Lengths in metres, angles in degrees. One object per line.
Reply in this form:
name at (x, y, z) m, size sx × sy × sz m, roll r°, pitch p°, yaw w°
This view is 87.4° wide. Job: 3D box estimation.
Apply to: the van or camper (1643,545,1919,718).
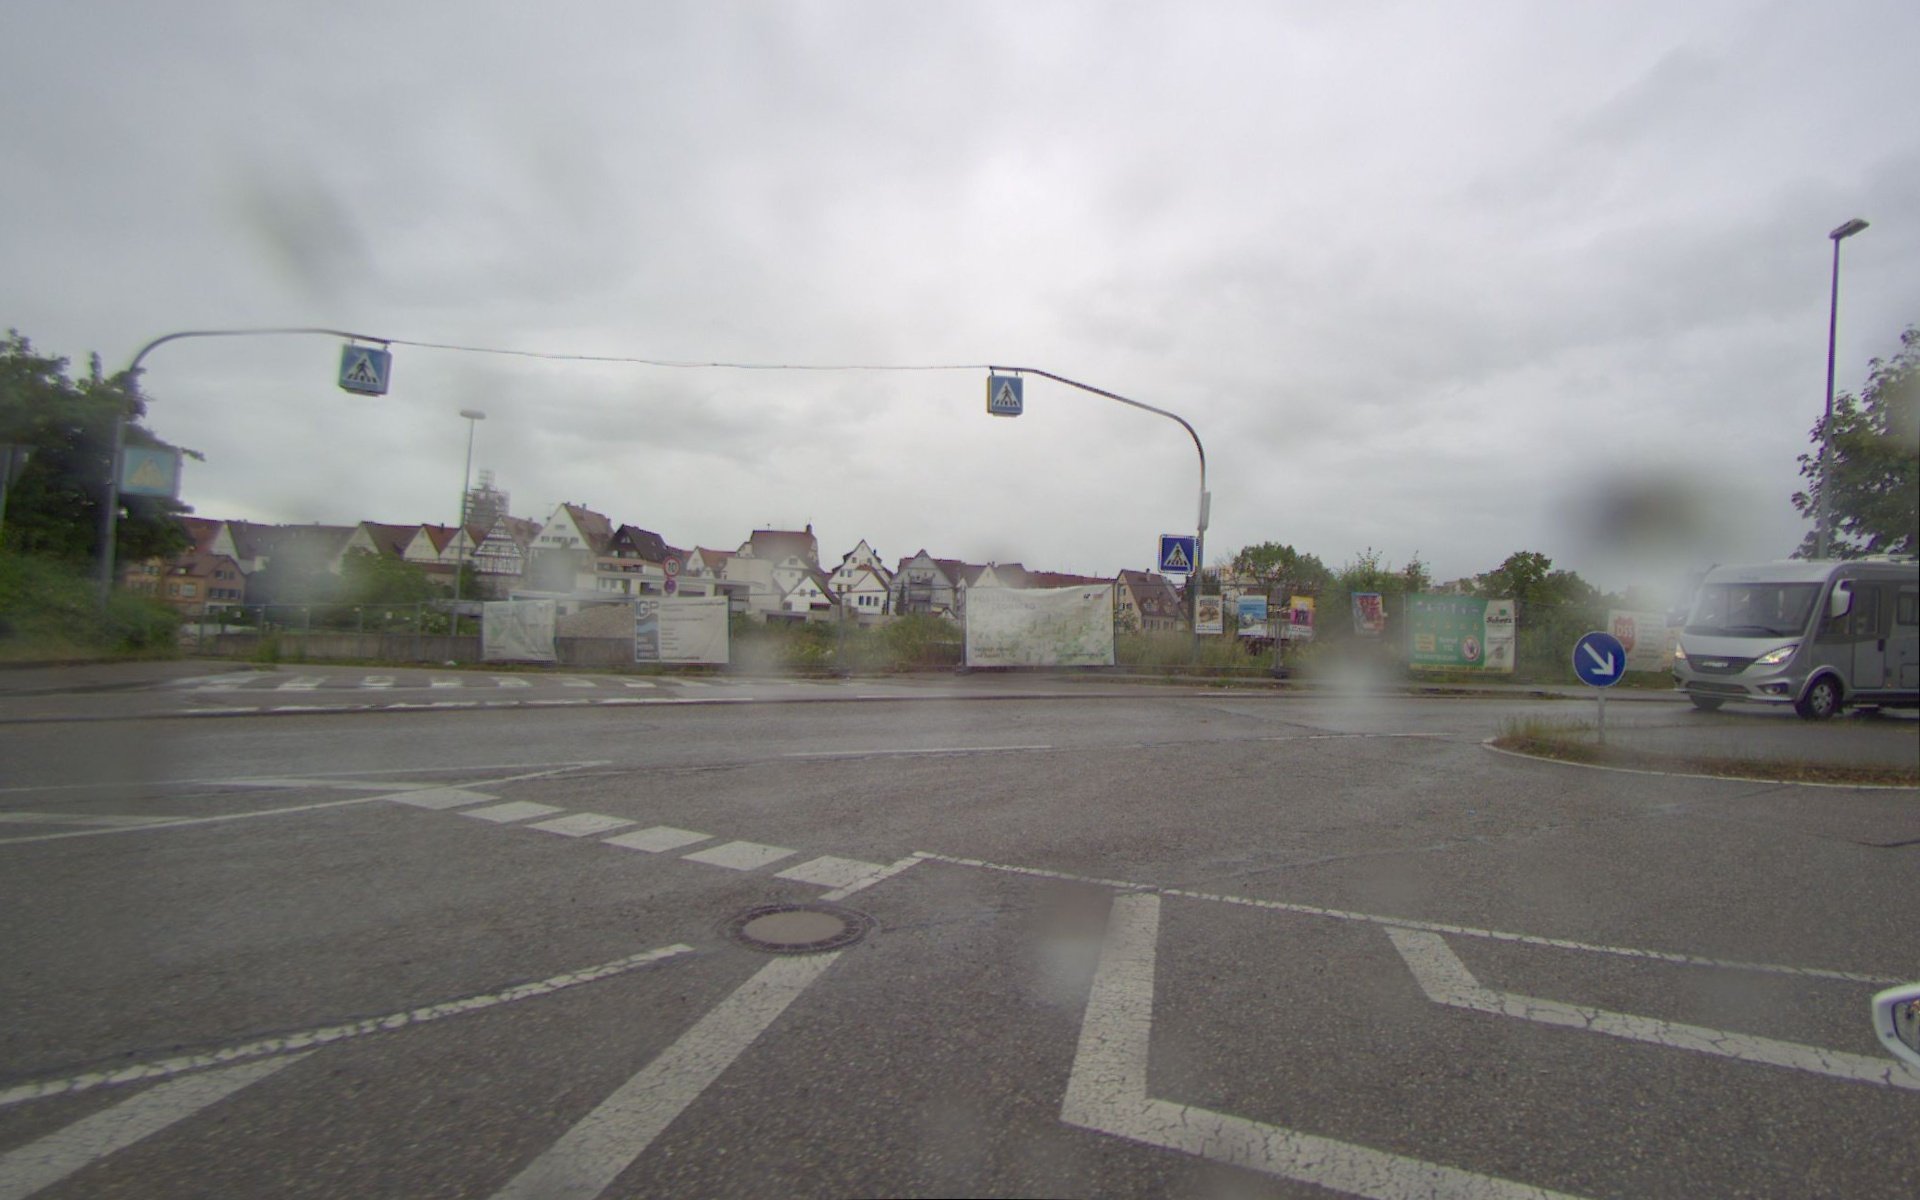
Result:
van or camper at (15.922, 0.620, 17.699) m, size 6.900 × 2.691 × 2.369 m, roll 2°, pitch -1°, yaw -13°
